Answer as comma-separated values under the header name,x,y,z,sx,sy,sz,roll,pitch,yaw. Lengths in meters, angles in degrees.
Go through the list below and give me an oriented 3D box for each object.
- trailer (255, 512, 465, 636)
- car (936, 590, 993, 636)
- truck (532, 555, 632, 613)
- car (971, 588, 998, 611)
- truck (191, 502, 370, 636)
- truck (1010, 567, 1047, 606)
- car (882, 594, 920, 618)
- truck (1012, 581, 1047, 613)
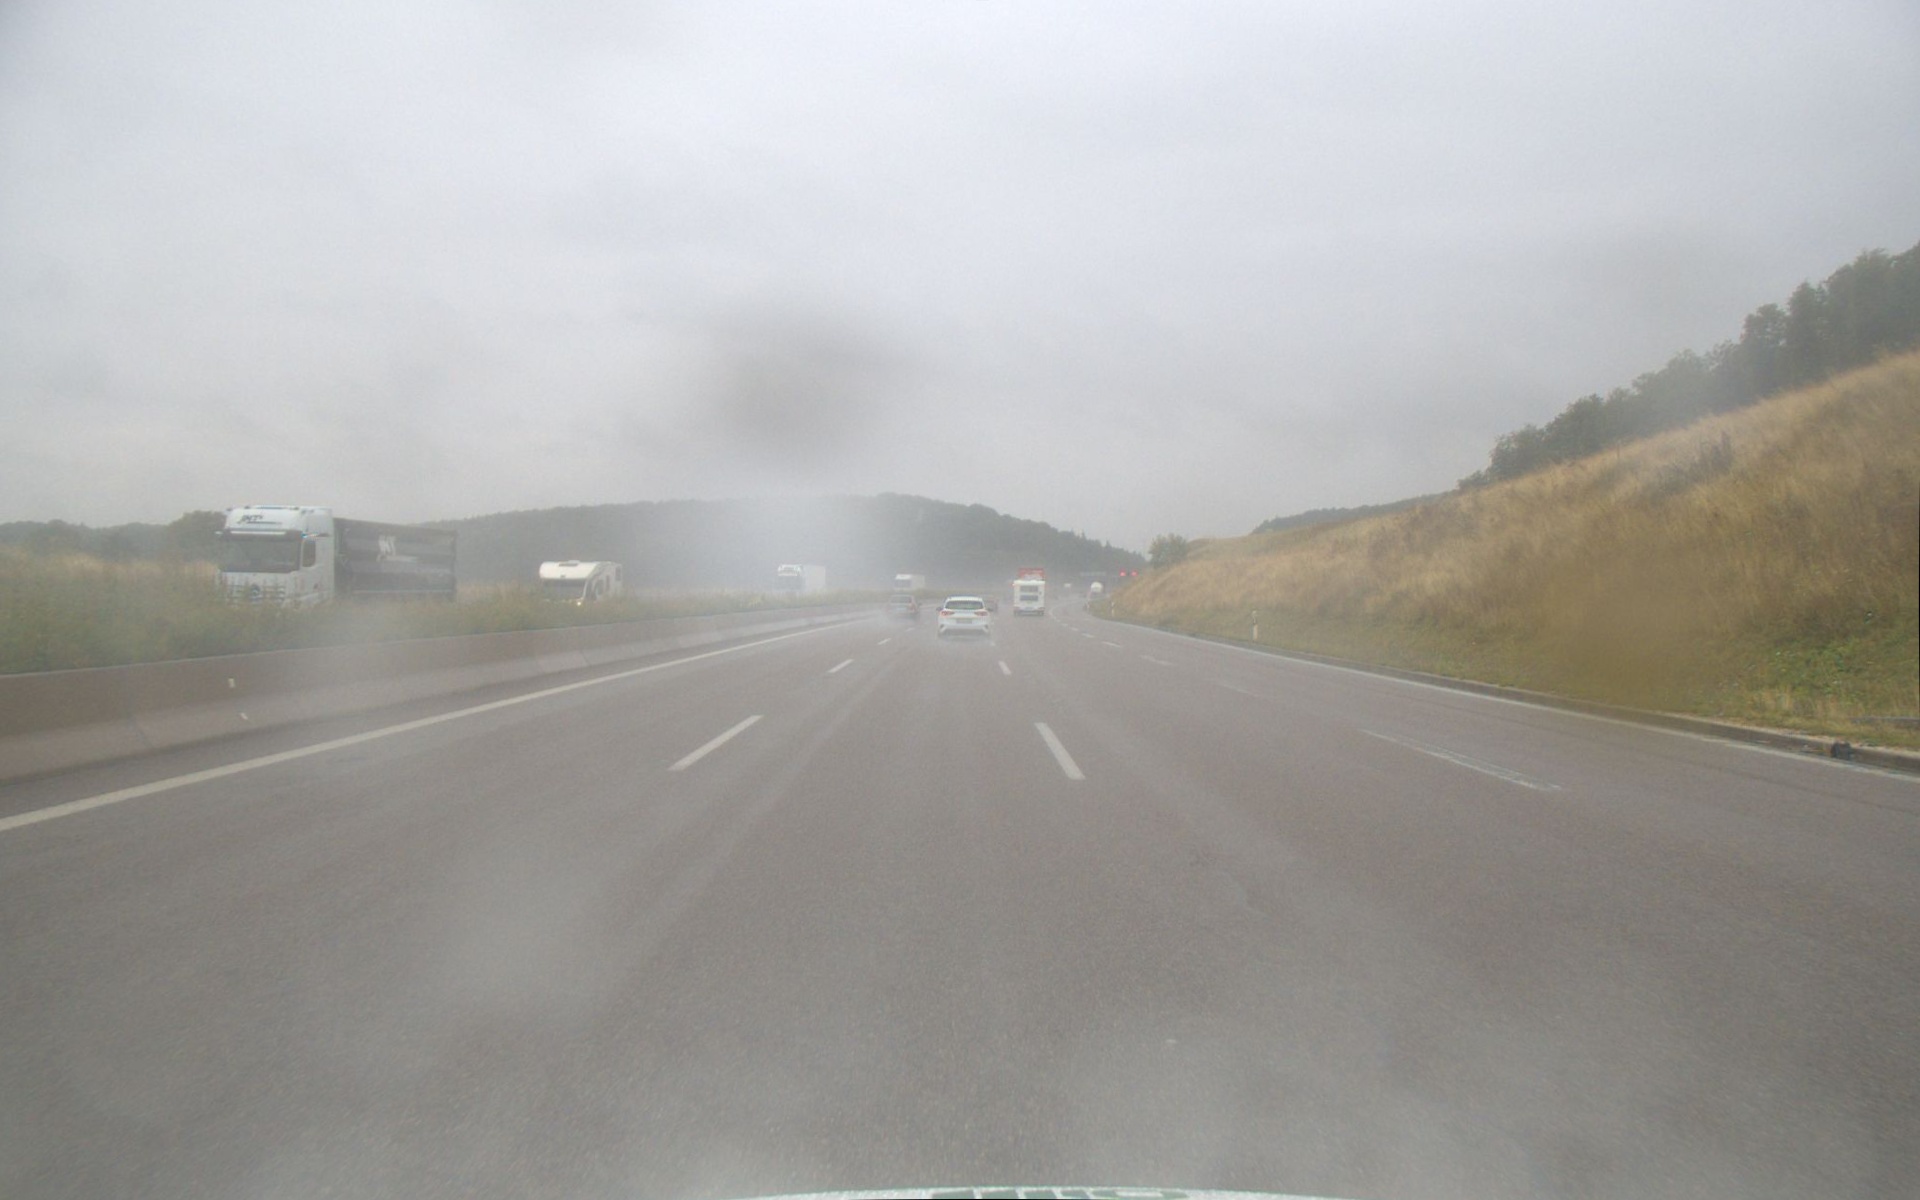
name,x,y,z,sx,sy,sz,roll,pitch,yaw
trailer,-19.642,-0.685,55.123,2.707,3.684,11.149,1,-1,1
car,0.130,0.448,56.216,1.830,1.488,3.999,0,-1,-1
truck,-15.704,-0.594,69.188,2.424,2.193,7.424,1,-1,0
car,1.825,-0.042,124.874,1.953,1.646,3.999,0,0,-1
truck,-19.722,-0.806,48.393,2.722,3.671,5.739,1,-1,1
truck,6.900,-1.464,167.869,3.454,3.808,11.428,1,1,1
car,-3.149,0.347,87.942,1.788,1.177,4.208,1,-1,-5
truck,4.996,-0.204,119.395,2.358,2.292,4.693,0,0,1
